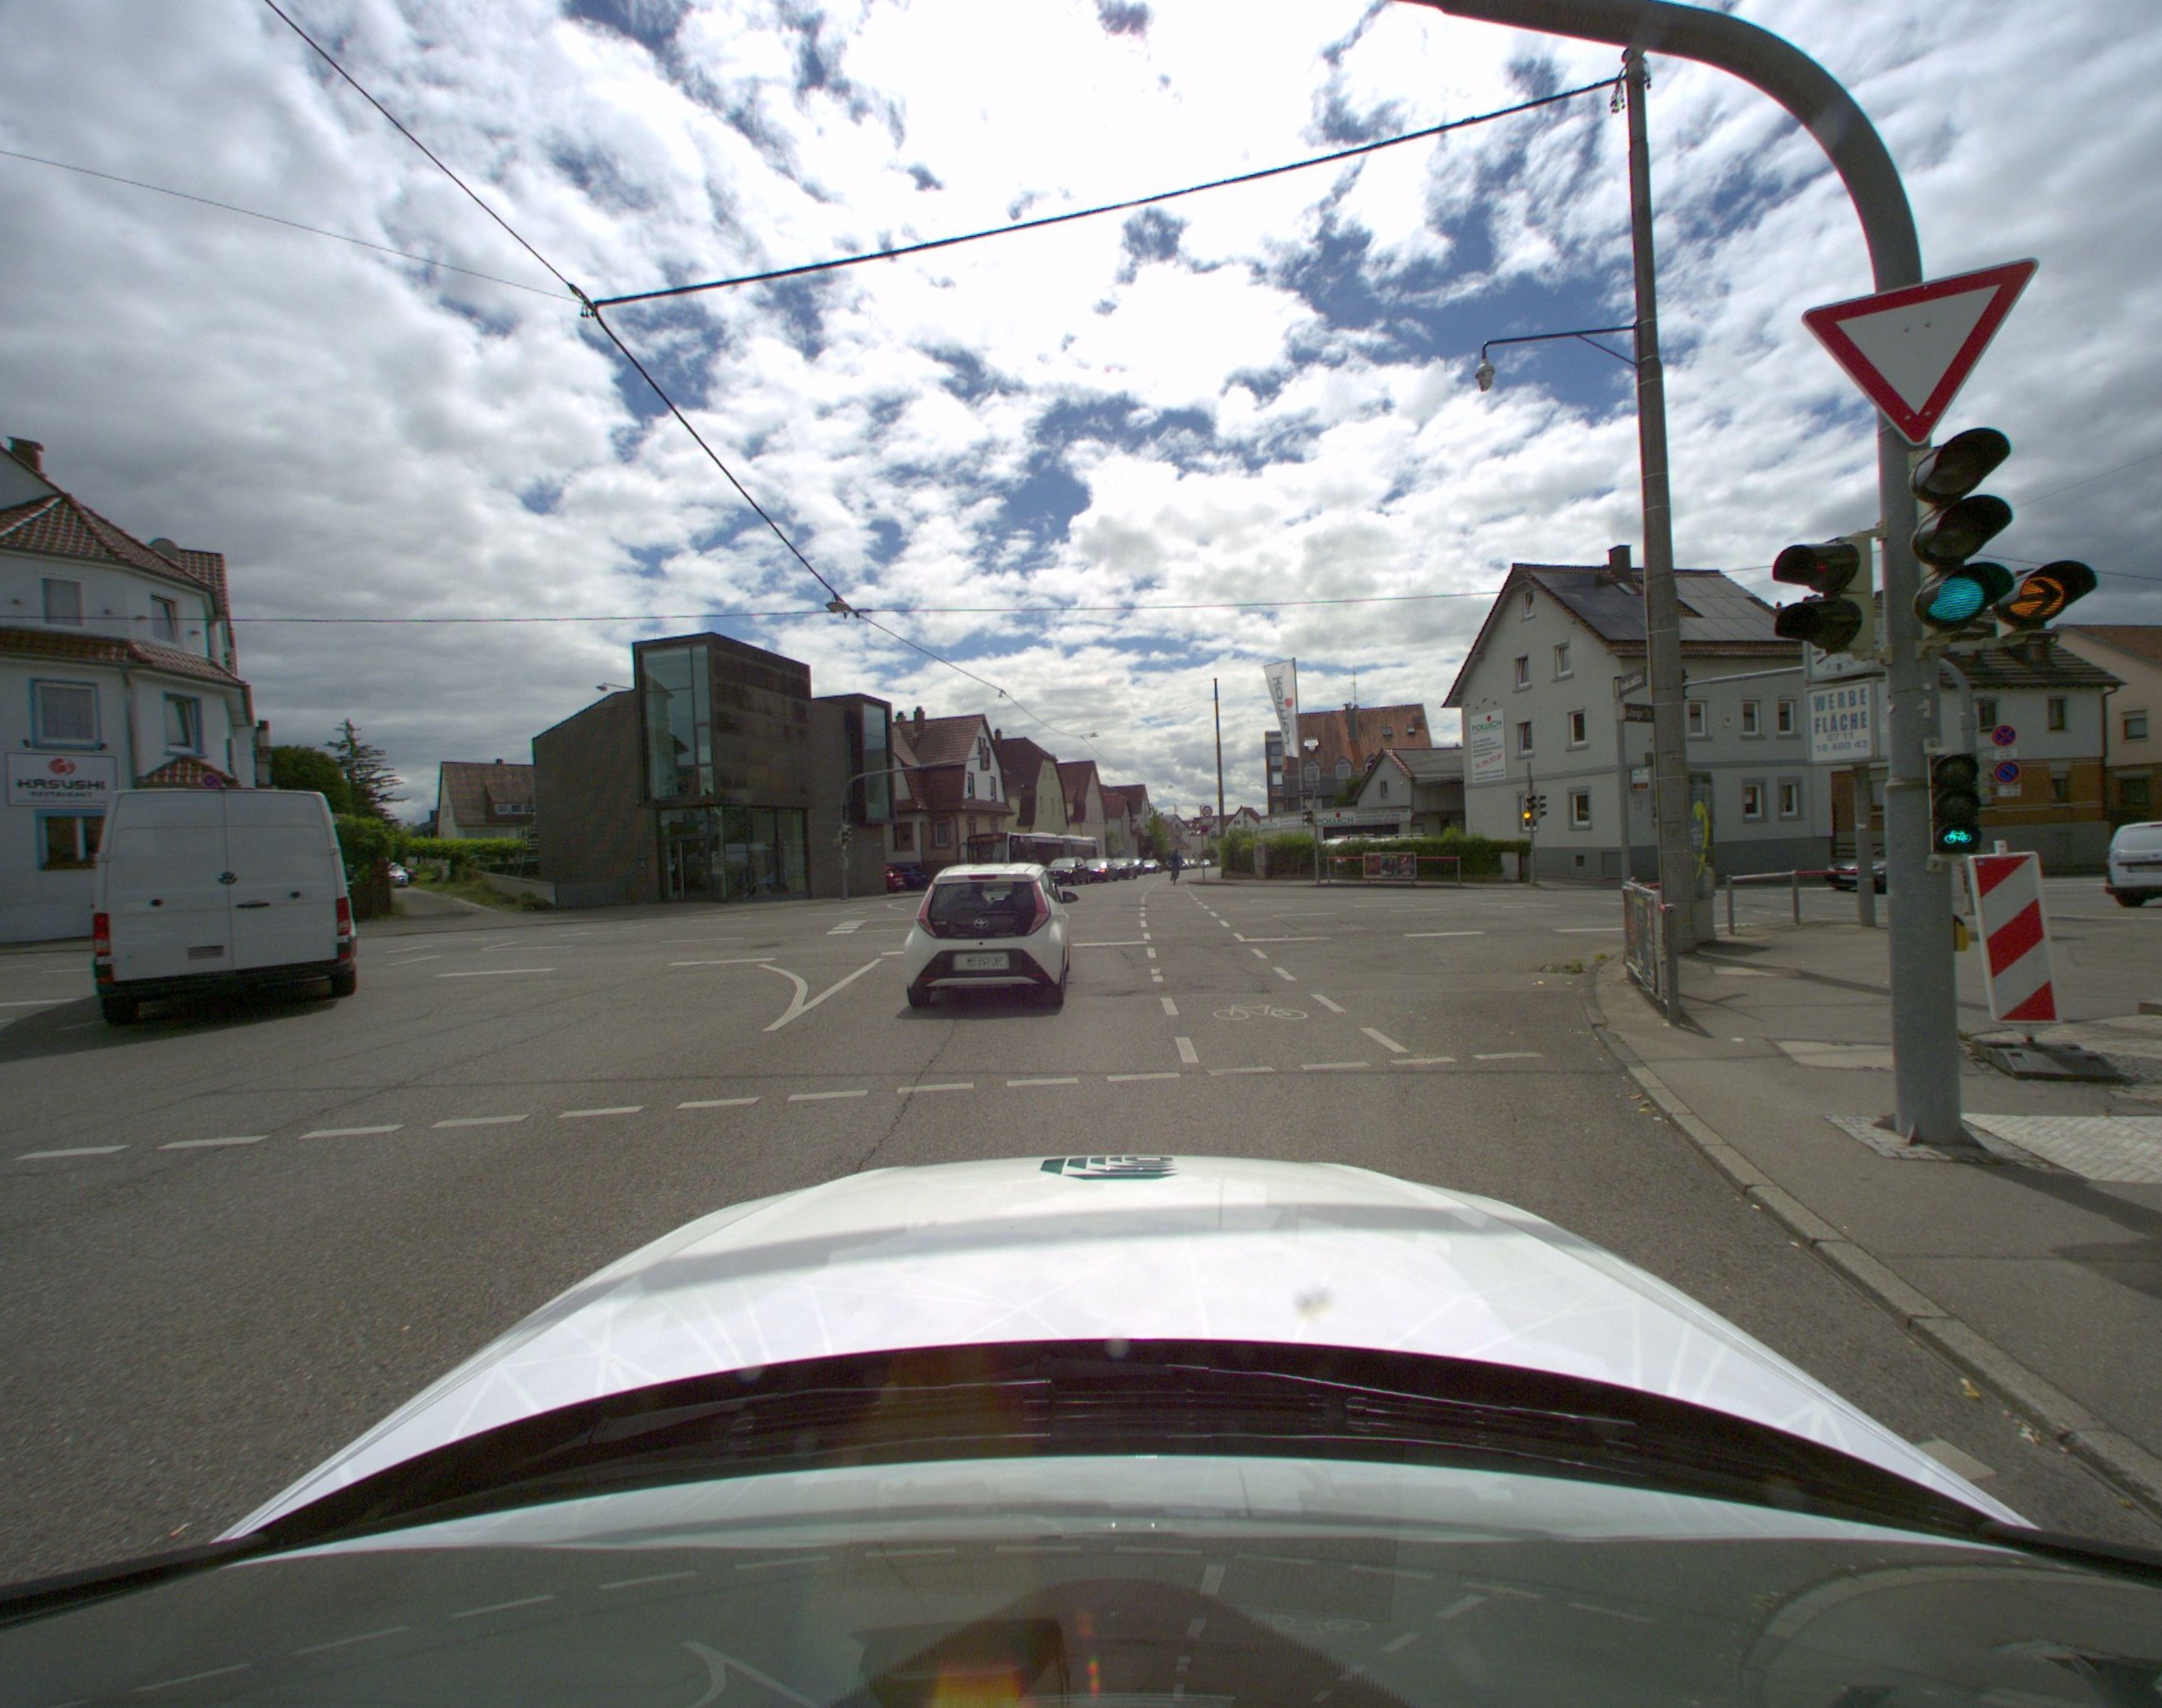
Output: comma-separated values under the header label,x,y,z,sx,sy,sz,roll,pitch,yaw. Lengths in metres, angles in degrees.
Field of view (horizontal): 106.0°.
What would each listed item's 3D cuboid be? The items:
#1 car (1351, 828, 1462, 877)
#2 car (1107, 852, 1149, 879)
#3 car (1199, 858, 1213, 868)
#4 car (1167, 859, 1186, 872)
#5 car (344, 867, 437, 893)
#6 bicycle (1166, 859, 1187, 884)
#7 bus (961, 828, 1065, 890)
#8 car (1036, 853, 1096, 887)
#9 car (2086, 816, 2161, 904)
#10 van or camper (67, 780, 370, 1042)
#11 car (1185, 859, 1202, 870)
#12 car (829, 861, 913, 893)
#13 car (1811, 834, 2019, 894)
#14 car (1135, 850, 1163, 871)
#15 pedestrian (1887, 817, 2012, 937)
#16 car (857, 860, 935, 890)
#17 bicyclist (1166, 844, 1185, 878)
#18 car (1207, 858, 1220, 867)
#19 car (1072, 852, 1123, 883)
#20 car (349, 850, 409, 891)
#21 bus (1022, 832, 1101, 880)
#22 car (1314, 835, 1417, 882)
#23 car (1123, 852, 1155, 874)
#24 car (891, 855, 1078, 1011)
label,x,y,z,sx,sy,sz,roll,pitch,yaw
car,13.990,-0.076,35.092,3.987,1.948,1.993,-2,0,-10
car,3.216,0.741,54.985,1.978,1.640,4.018,-1,0,16
car,23.218,1.678,150.885,1.978,1.640,4.018,-1,0,16
car,13.432,1.607,114.663,1.978,1.640,4.018,-1,0,16
car,-39.739,1.476,46.970,4.021,1.310,1.515,-2,0,-41
bicycle,4.702,0.860,40.346,0.829,1.164,2.193,-2,0,2
bus,-3.551,0.220,45.654,2.757,3.060,9.228,-2,0,15
car,-0.728,0.801,43.187,1.978,1.640,4.018,-1,0,16
car,24.203,0.054,17.132,4.476,1.794,1.911,-2,0,-10
van or camper,-11.039,0.538,10.777,2.126,2.586,5.576,-4,2,-43
car,17.830,1.627,128.832,1.978,1.640,4.018,-1,0,16
car,-11.500,1.246,44.712,3.960,1.640,2.007,-1,0,12
car,23.729,0.233,23.243,4.605,1.457,1.993,-2,2,-12
car,6.911,0.657,82.982,1.978,2.013,4.018,-2,0,17
pedestrian,12.373,0.336,11.646,0.827,1.638,0.877,-2,-2,16
car,-10.792,1.204,47.578,3.960,1.684,2.007,0,0,12
bicyclist,4.689,0.352,40.326,0.837,1.614,1.084,-2,0,3
car,26.121,1.696,160.977,1.978,1.640,4.018,-1,0,16
car,1.034,0.772,48.282,1.978,1.640,4.202,-1,0,16
car,-37.765,0.884,43.782,3.949,2.013,2.012,-2,0,43
bus,-1.111,0.080,54.593,2.757,2.914,9.228,-2,0,15
car,12.994,0.196,37.326,3.986,2.013,1.994,-2,0,-10
car,5.662,0.882,79.088,1.977,2.013,4.020,-2,0,19
car,-0.953,0.781,9.782,1.732,1.460,3.532,-2,0,1
